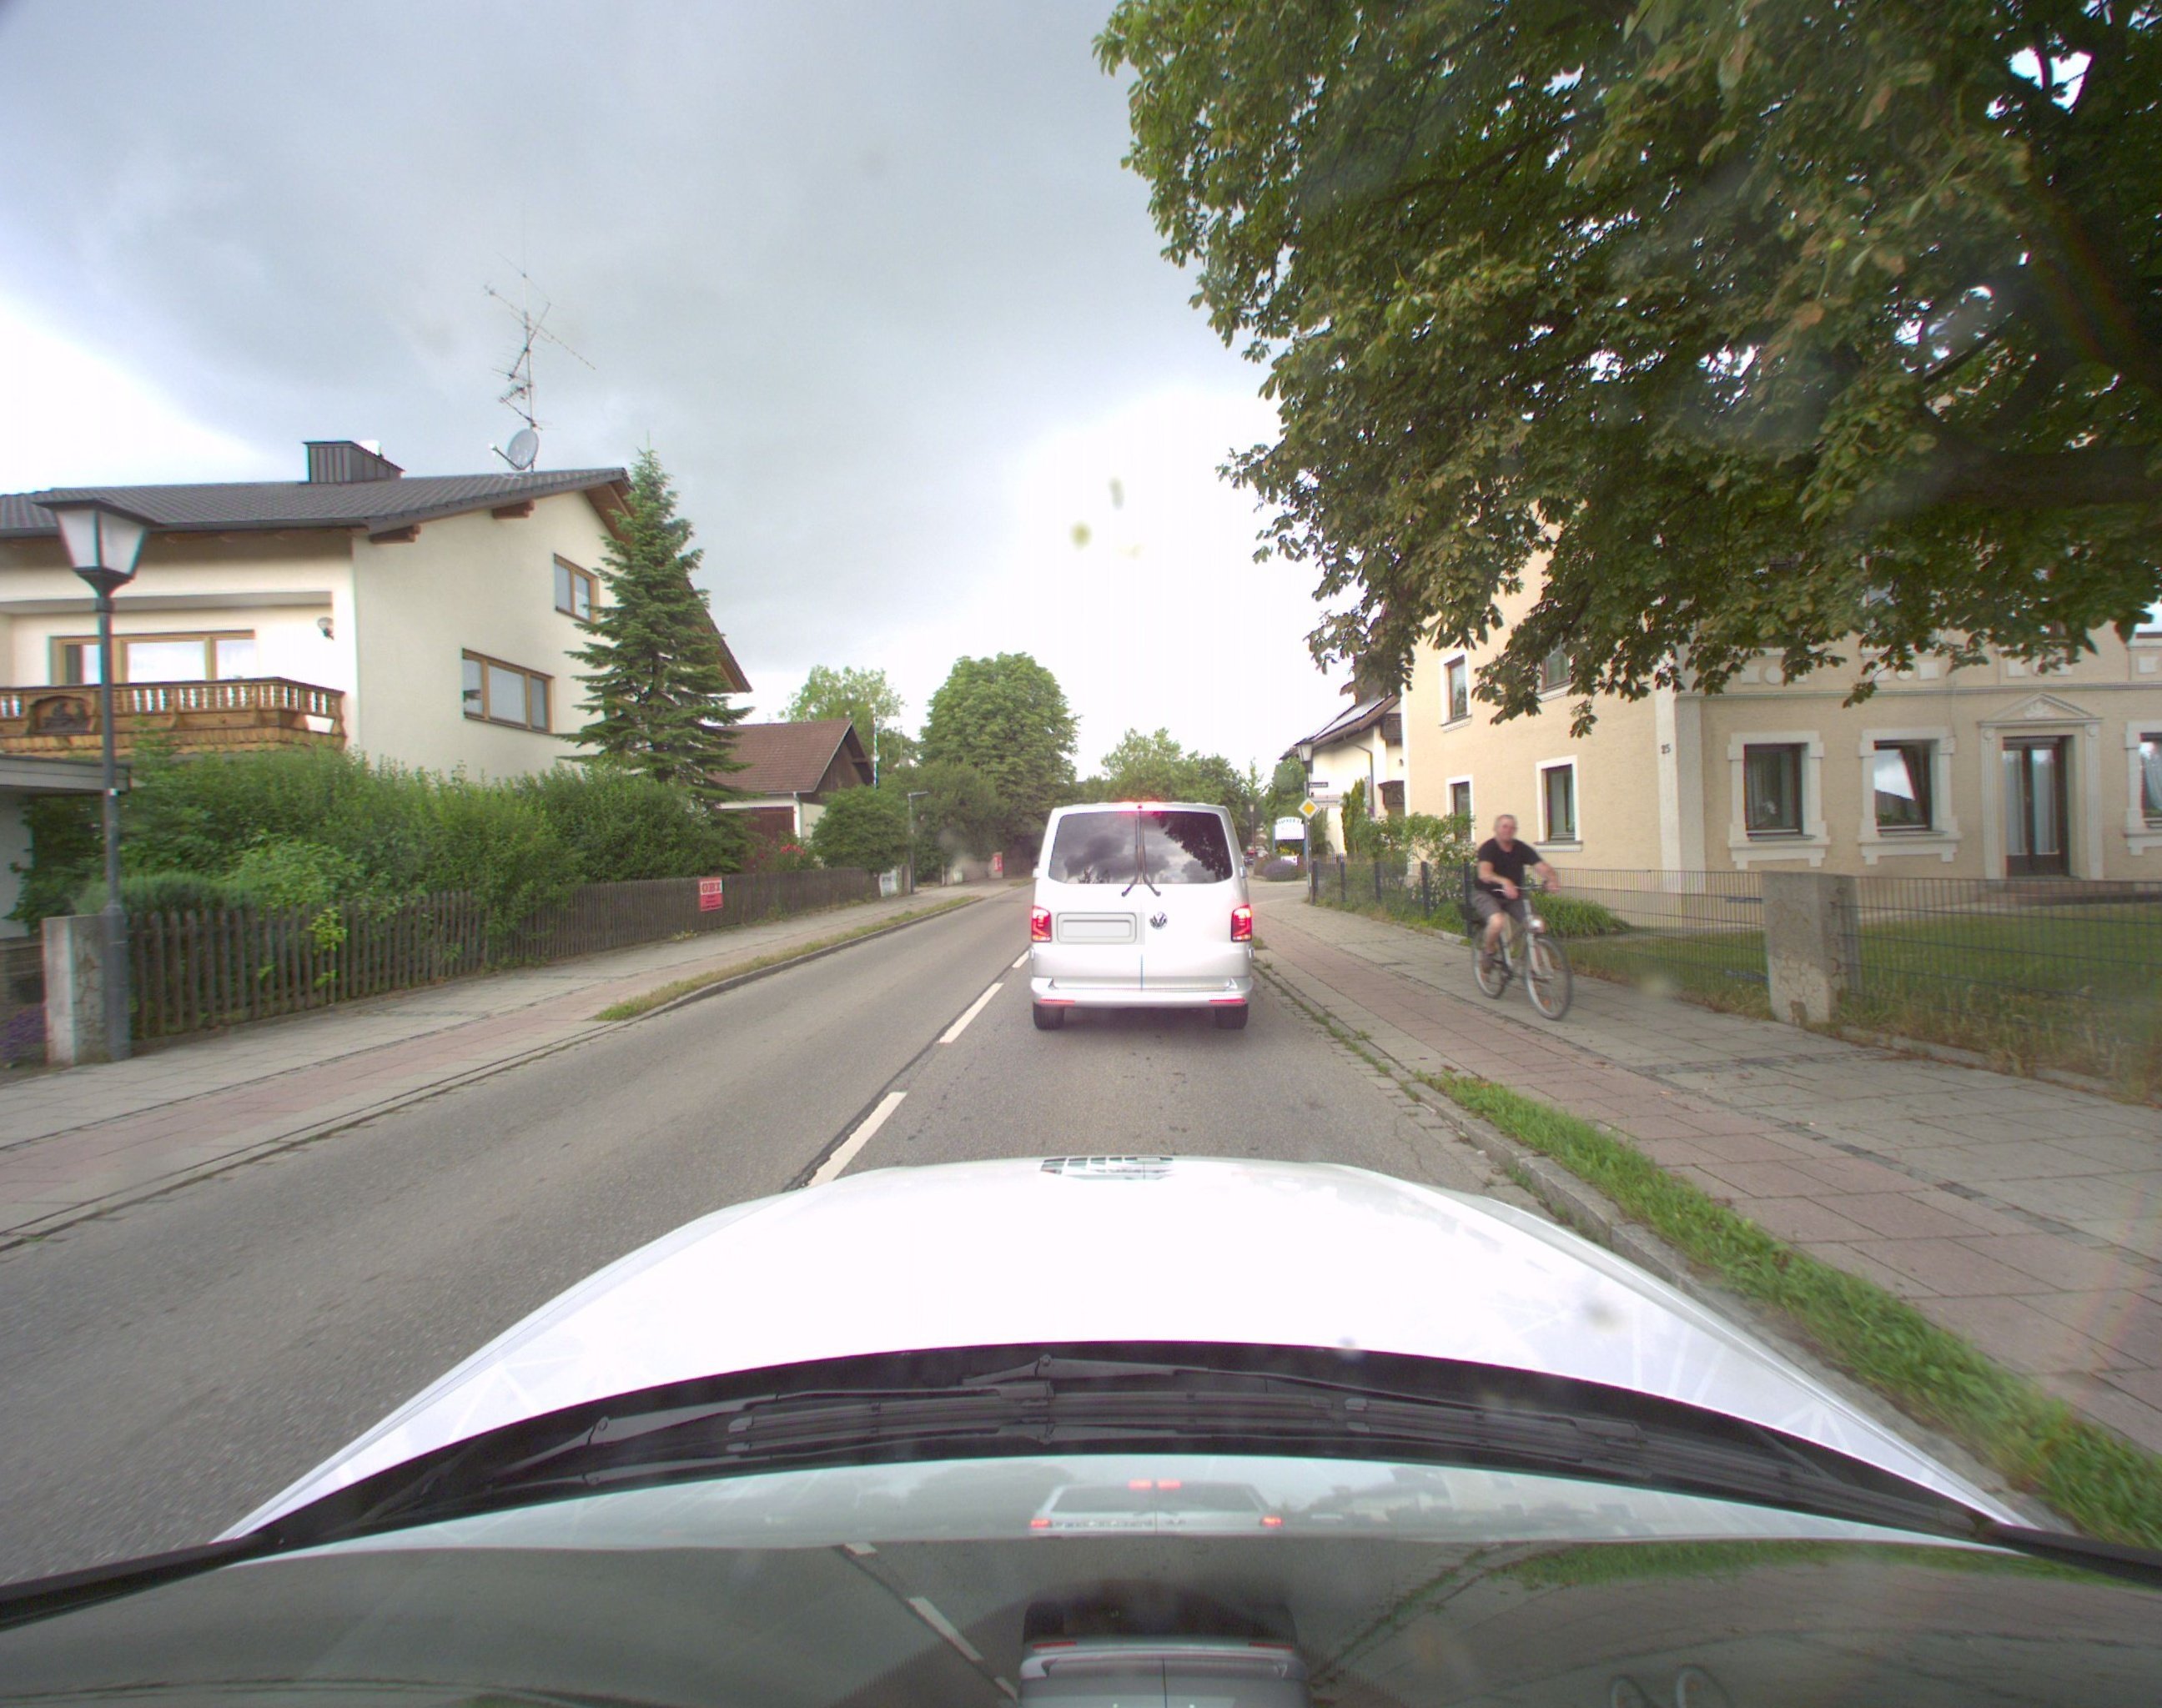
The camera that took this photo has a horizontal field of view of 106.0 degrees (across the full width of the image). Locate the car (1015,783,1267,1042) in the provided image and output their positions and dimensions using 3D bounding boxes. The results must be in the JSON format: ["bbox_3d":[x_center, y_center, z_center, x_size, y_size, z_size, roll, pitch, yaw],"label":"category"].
[{"bbox_3d":[0.559,0.450,8.192,1.873,1.940,3.924,-2,0,3],"label":"car"}]

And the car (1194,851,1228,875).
[{"bbox_3d":[8.855,0.570,55.169,1.868,1.535,3.936,-2,0,14],"label":"car"}]

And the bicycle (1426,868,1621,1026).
[{"bbox_3d":[3.827,0.741,7.258,0.761,1.143,1.847,-4,0,4],"label":"bicycle"}]

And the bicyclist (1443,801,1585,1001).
[{"bbox_3d":[3.824,0.396,7.271,0.733,1.632,0.891,-3,0,3],"label":"bicyclist"}]

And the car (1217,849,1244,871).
[{"bbox_3d":[12.530,0.476,67.970,1.867,1.748,4.097,-2,0,15],"label":"car"}]

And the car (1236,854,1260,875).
[{"bbox_3d":[15.719,0.993,76.401,1.867,1.825,3.937,-2,0,16],"label":"car"}]

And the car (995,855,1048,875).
[{"bbox_3d":[-4.627,0.847,63.325,3.982,1.486,1.996,-1,0,-6],"label":"car"}]

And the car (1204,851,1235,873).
[{"bbox_3d":[10.420,0.564,61.153,1.867,1.535,3.937,-2,0,16],"label":"car"}]

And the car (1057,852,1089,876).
[{"bbox_3d":[-0.507,0.668,55.711,1.923,1.575,4.314,0,0,2],"label":"car"}]
